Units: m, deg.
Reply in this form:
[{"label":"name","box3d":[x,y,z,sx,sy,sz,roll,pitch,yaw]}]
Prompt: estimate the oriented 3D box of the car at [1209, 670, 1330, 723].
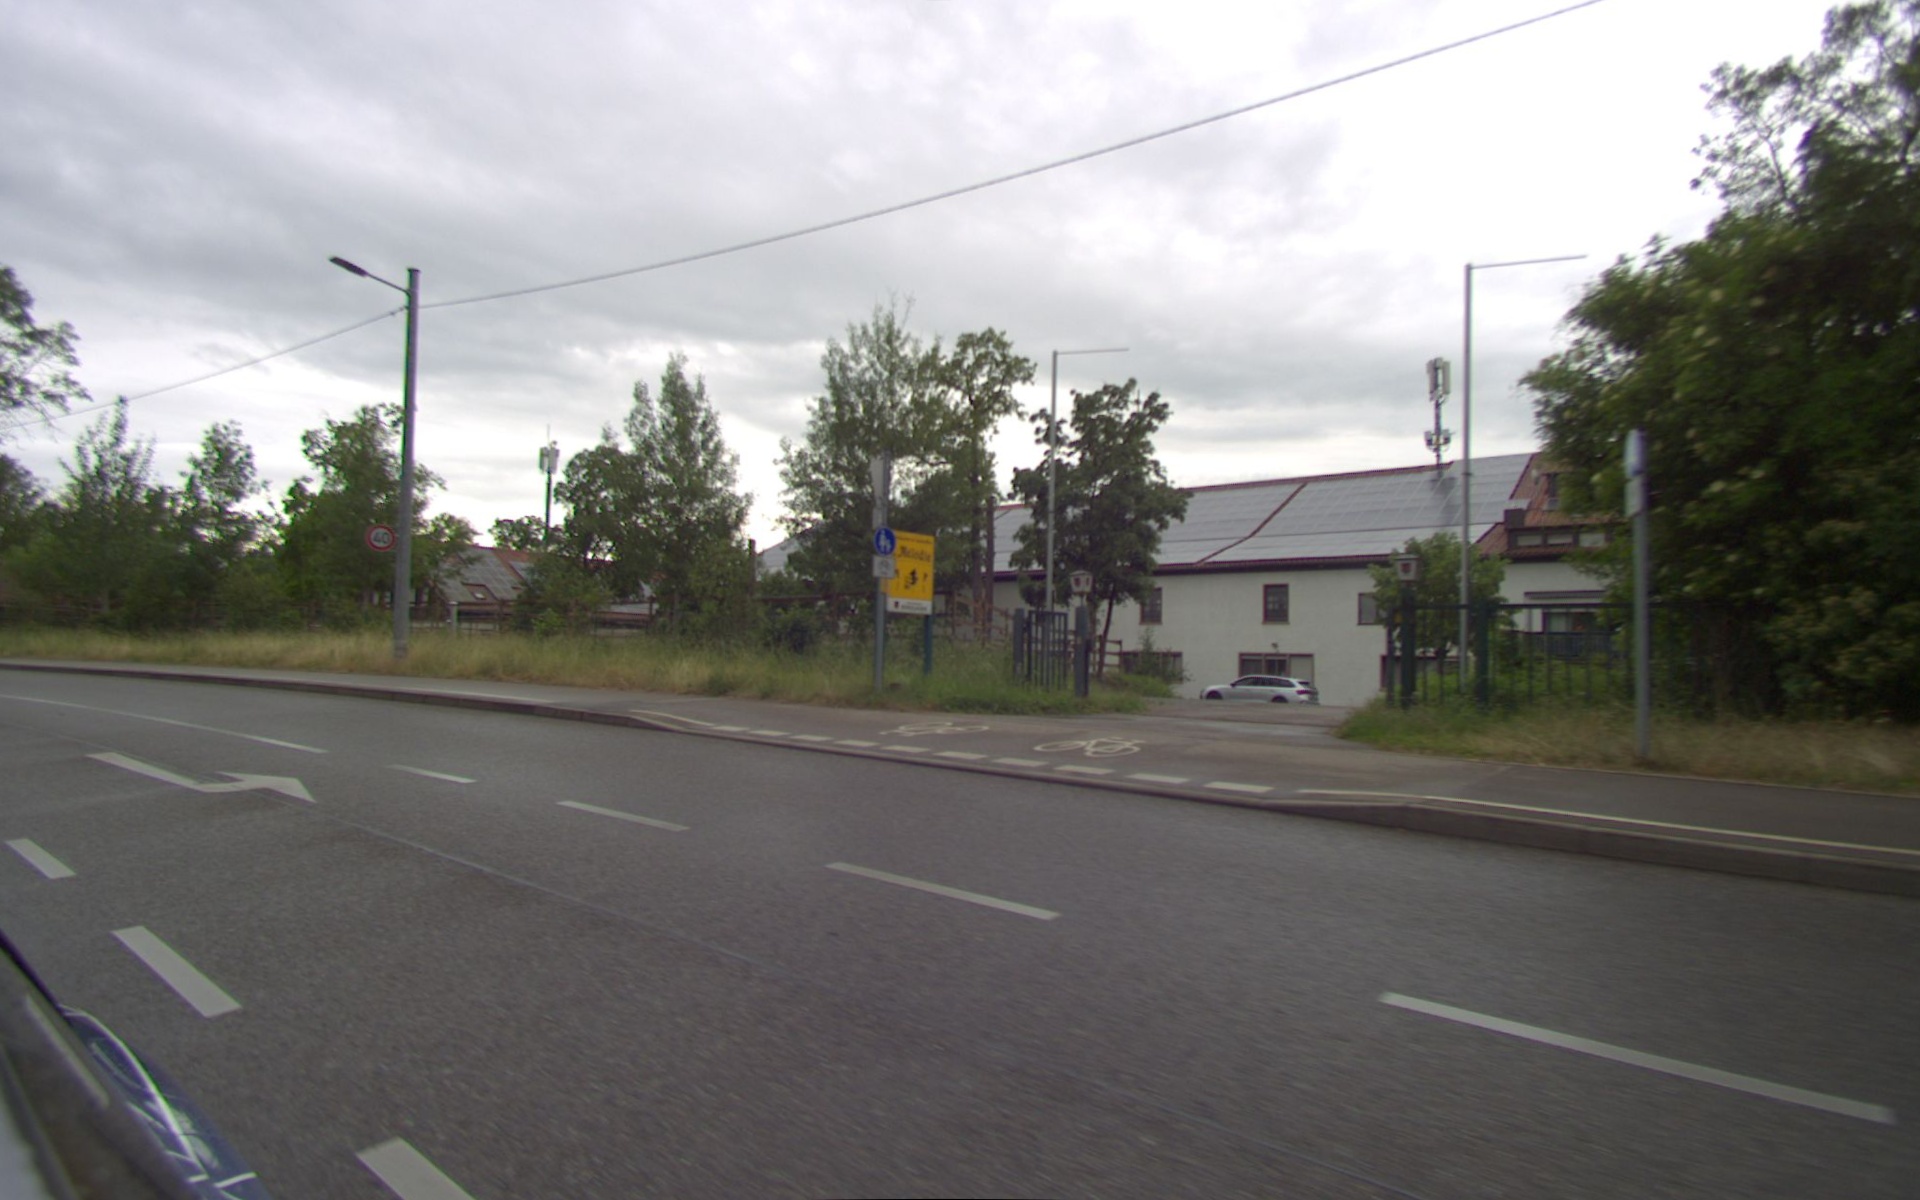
[{"label":"car","box3d":[11.915,3.670,39.088,3.998,1.764,1.973,-1,-1,41]}]
